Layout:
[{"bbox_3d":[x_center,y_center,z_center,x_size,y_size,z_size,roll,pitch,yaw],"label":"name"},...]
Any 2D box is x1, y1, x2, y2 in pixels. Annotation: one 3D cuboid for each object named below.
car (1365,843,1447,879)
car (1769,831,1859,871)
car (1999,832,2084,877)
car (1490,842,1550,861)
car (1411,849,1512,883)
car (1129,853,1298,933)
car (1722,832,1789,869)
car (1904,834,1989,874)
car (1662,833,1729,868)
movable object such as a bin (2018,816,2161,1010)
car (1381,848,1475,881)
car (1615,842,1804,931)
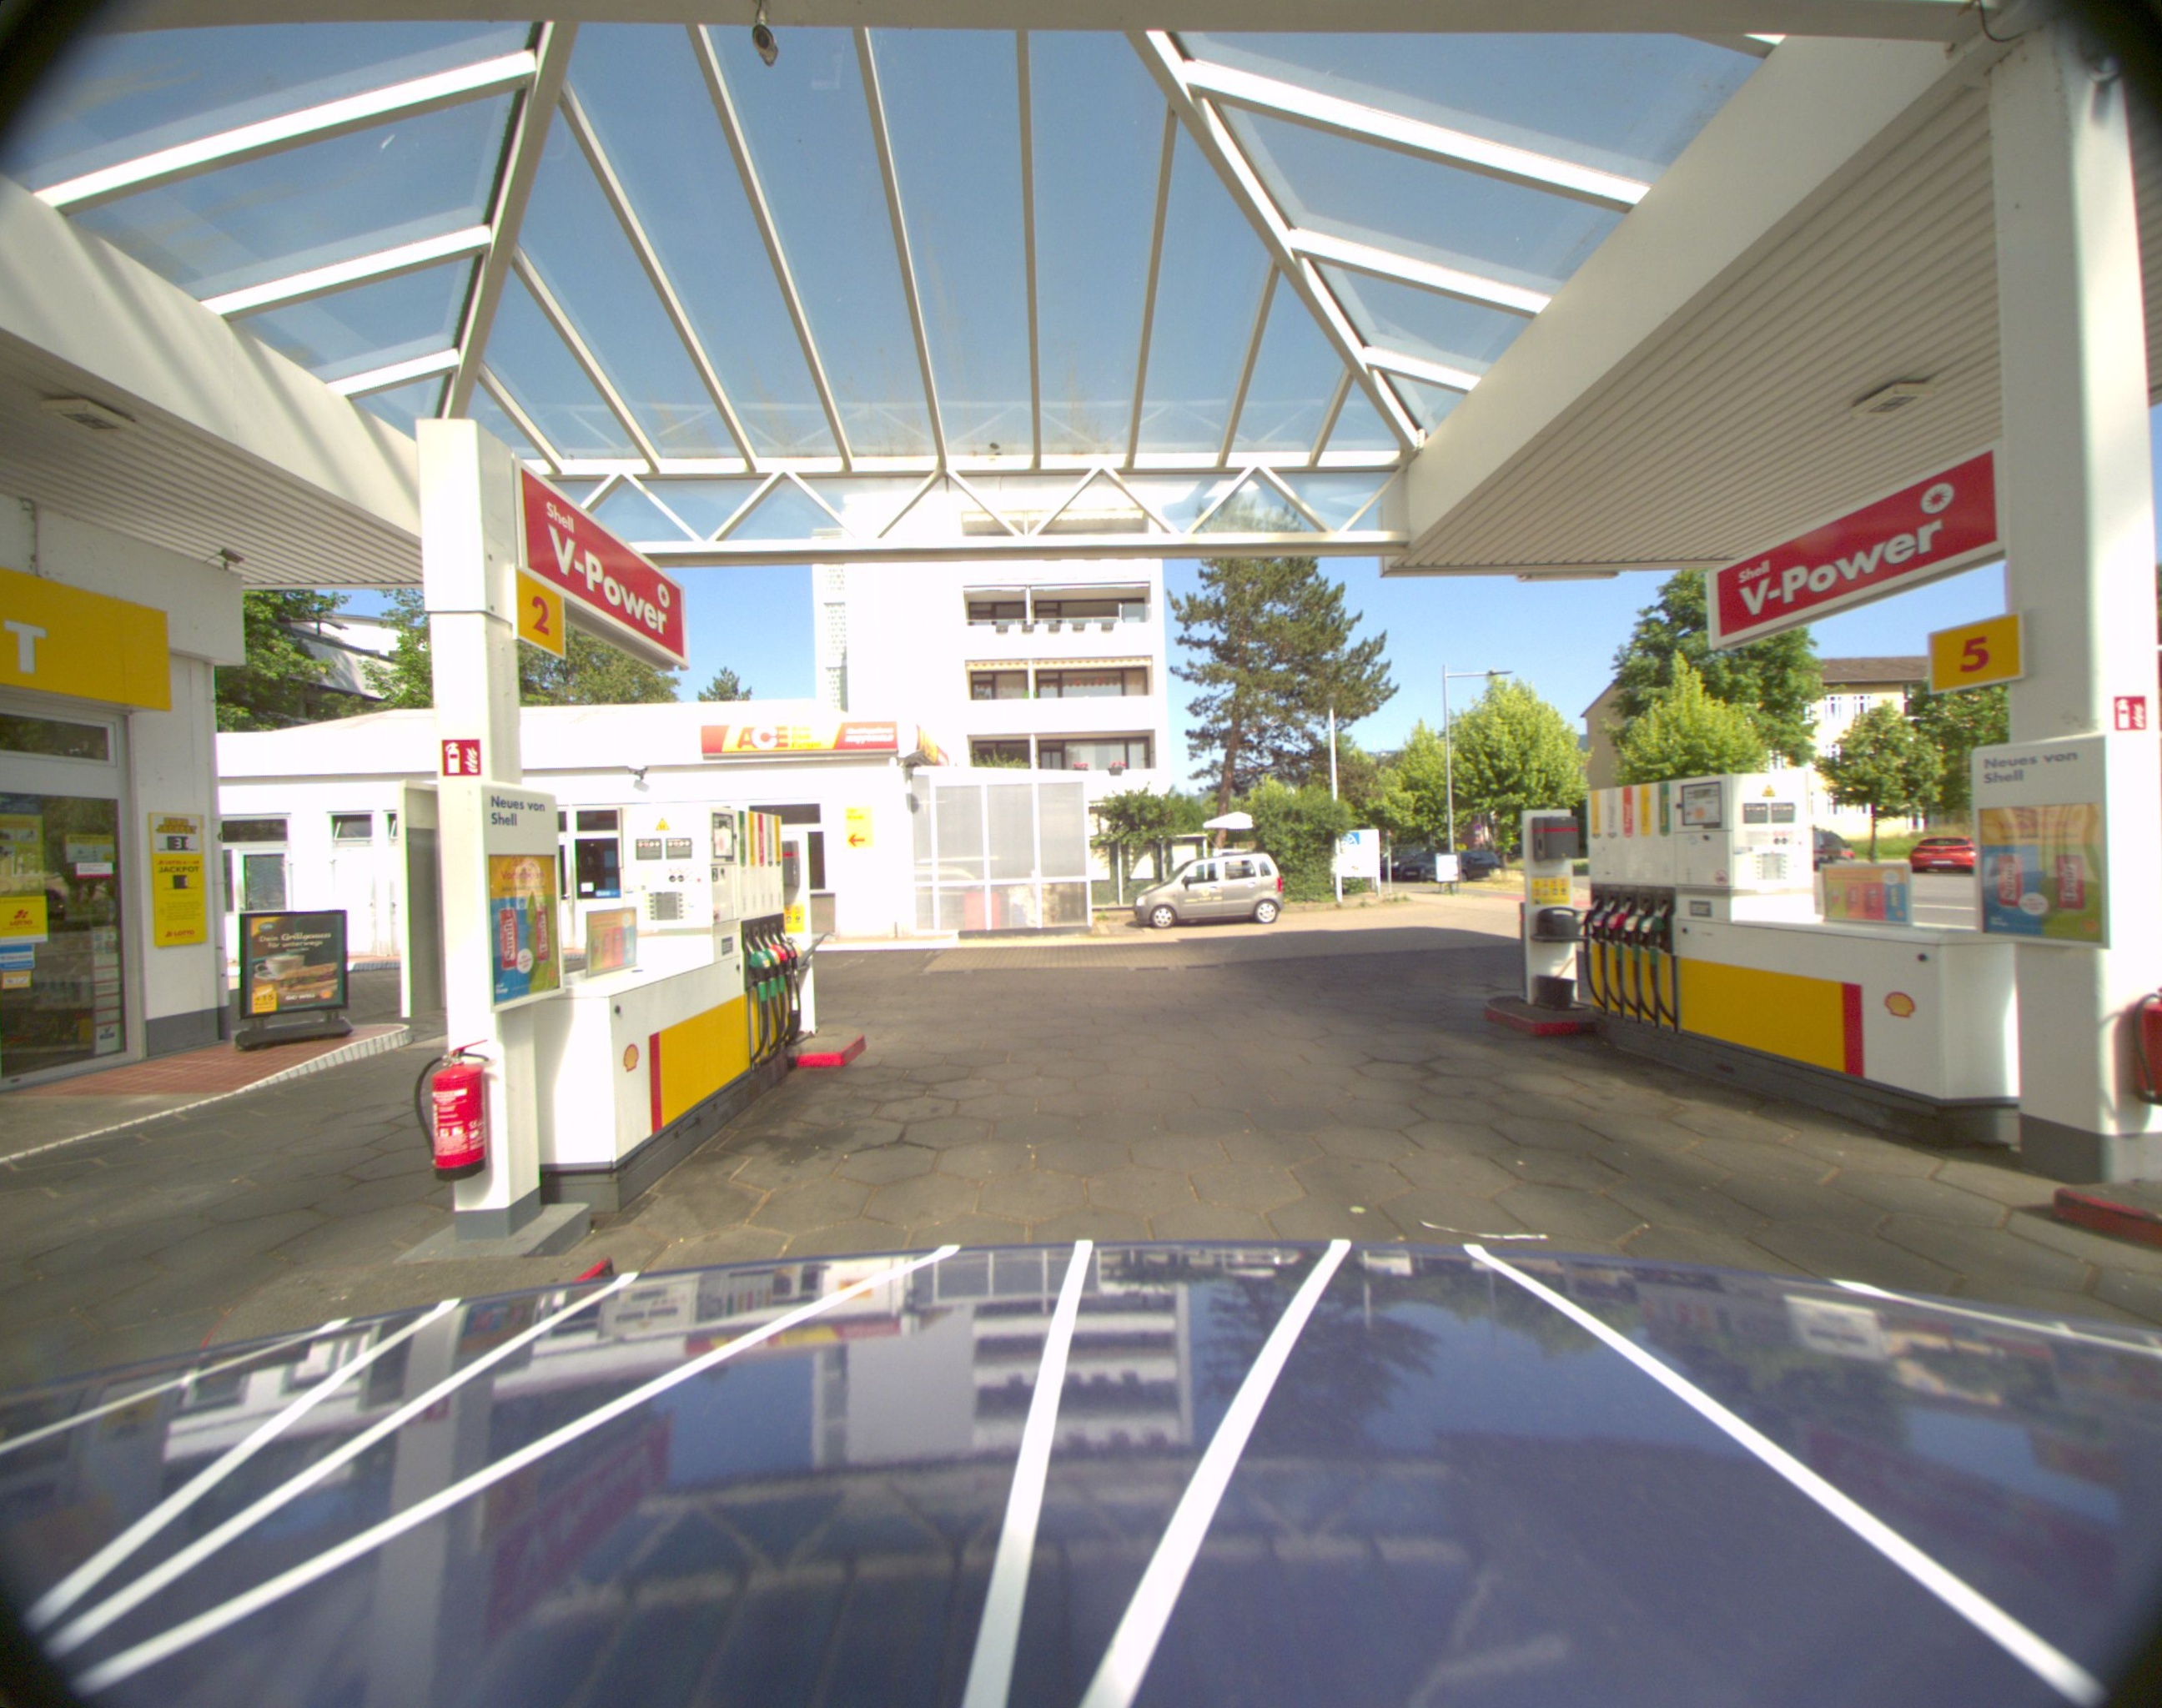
[{"bbox_3d":[16.596,0.321,38.754,4.411,1.710,1.700,-1,1,-34],"label":"car"},{"bbox_3d":[33.276,-0.147,34.466,4.233,1.712,1.876,-1,1,-31],"label":"car"},{"bbox_3d":[33.646,0.010,26.607,4.234,1.451,1.737,0,0,-38],"label":"car"},{"bbox_3d":[32.428,-0.222,56.181,3.730,1.383,1.878,0,1,-20],"label":"car"},{"bbox_3d":[16.777,0.511,33.501,4.232,1.408,1.877,0,0,-28],"label":"car"},{"bbox_3d":[3.055,0.893,18.081,3.660,1.608,1.692,-3,1,0],"label":"car"},{"bbox_3d":[32.885,-0.175,37.028,4.234,1.712,1.876,-1,1,-41],"label":"car"},{"bbox_3d":[33.581,-0.038,29.442,4.234,1.451,1.876,-1,1,-38],"label":"car"},{"bbox_3d":[31.454,-0.196,38.854,4.234,1.712,1.876,-1,1,-41],"label":"car"},{"bbox_3d":[10.056,0.514,6.928,1.342,1.678,1.337,0,1,-1],"label":"movable object such as a bin"},{"bbox_3d":[16.595,0.461,36.315,4.232,1.473,1.877,-1,0,-28],"label":"car"},{"bbox_3d":[14.162,0.658,17.081,4.314,1.696,1.957,-2,0,-32],"label":"car"}]
